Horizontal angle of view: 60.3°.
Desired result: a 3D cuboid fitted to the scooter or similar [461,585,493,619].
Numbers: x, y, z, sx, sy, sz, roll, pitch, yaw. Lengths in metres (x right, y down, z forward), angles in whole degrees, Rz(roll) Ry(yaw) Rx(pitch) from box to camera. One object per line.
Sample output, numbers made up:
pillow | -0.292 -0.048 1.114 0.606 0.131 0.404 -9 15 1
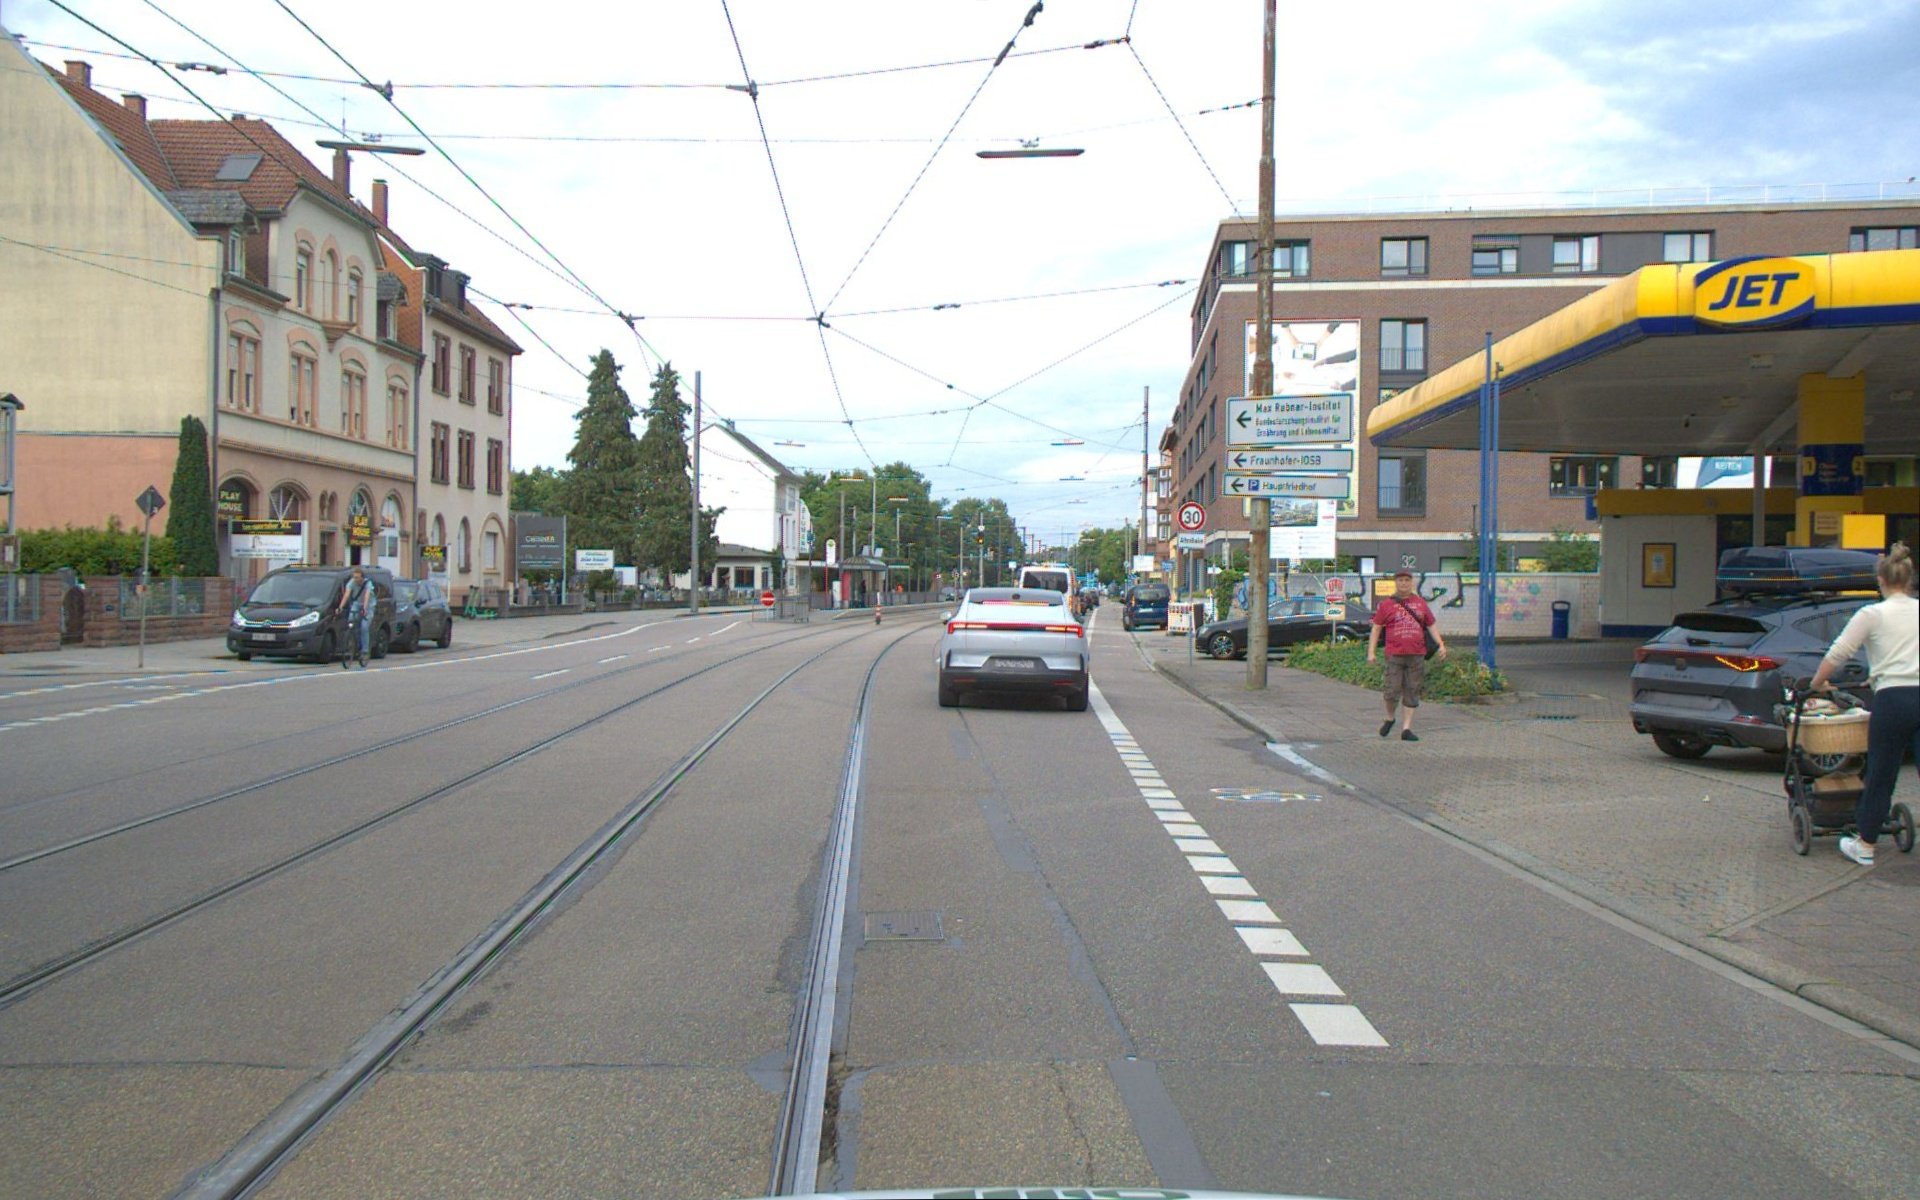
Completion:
scooter or similar | -17.698 0.064 60.611 1.040 1.209 0.315 2 -1 -35

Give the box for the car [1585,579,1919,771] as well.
car | 8.235 0.603 15.351 4.243 1.523 1.987 -1 1 -17

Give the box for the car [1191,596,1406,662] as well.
car | 8.018 0.659 39.151 4.768 1.452 1.953 1 0 19

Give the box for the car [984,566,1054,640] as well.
car | 1.716 0.100 49.461 1.952 2.049 4.000 2 0 1

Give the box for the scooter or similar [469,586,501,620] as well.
scooter or similar | -17.288 0.121 60.177 1.040 1.209 0.315 2 -1 -35

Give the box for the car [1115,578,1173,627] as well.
car | 7.358 0.106 66.360 1.836 1.855 4.096 2 0 0

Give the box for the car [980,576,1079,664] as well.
car | 1.484 0.433 36.798 1.929 1.787 3.837 2 0 -1

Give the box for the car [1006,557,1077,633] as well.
car | 2.806 -0.166 58.184 2.171 2.465 4.951 2 0 0

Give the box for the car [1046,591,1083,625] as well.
car | 6.738 0.510 107.098 1.954 2.049 3.998 2 0 -3

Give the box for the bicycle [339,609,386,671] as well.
bicycle | -11.151 0.722 30.904 0.576 1.092 1.951 -1 0 -13

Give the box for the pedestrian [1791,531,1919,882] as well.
pedestrian | 5.203 0.546 9.170 0.751 1.828 1.163 -2 0 14

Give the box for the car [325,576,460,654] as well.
car | -13.659 0.350 40.044 1.807 1.748 4.192 2 0 -1

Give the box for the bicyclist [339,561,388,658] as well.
bicyclist | -11.182 0.177 31.015 0.722 1.780 0.976 -1 0 -13

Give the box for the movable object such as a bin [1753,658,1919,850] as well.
movable object such as a bin | 5.378 0.915 10.080 0.751 1.057 1.025 -2 0 14

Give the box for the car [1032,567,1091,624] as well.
car | 4.105 -0.163 67.576 2.095 2.183 4.743 2 0 1

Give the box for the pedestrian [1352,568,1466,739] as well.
pedestrian | 4.814 0.560 17.806 0.952 1.769 0.861 -2 0 0

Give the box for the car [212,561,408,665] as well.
car | -13.200 0.261 33.966 1.951 1.920 4.998 2 0 0

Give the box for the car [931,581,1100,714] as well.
car | 0.648 0.571 22.523 1.942 1.577 4.181 2 0 -2
